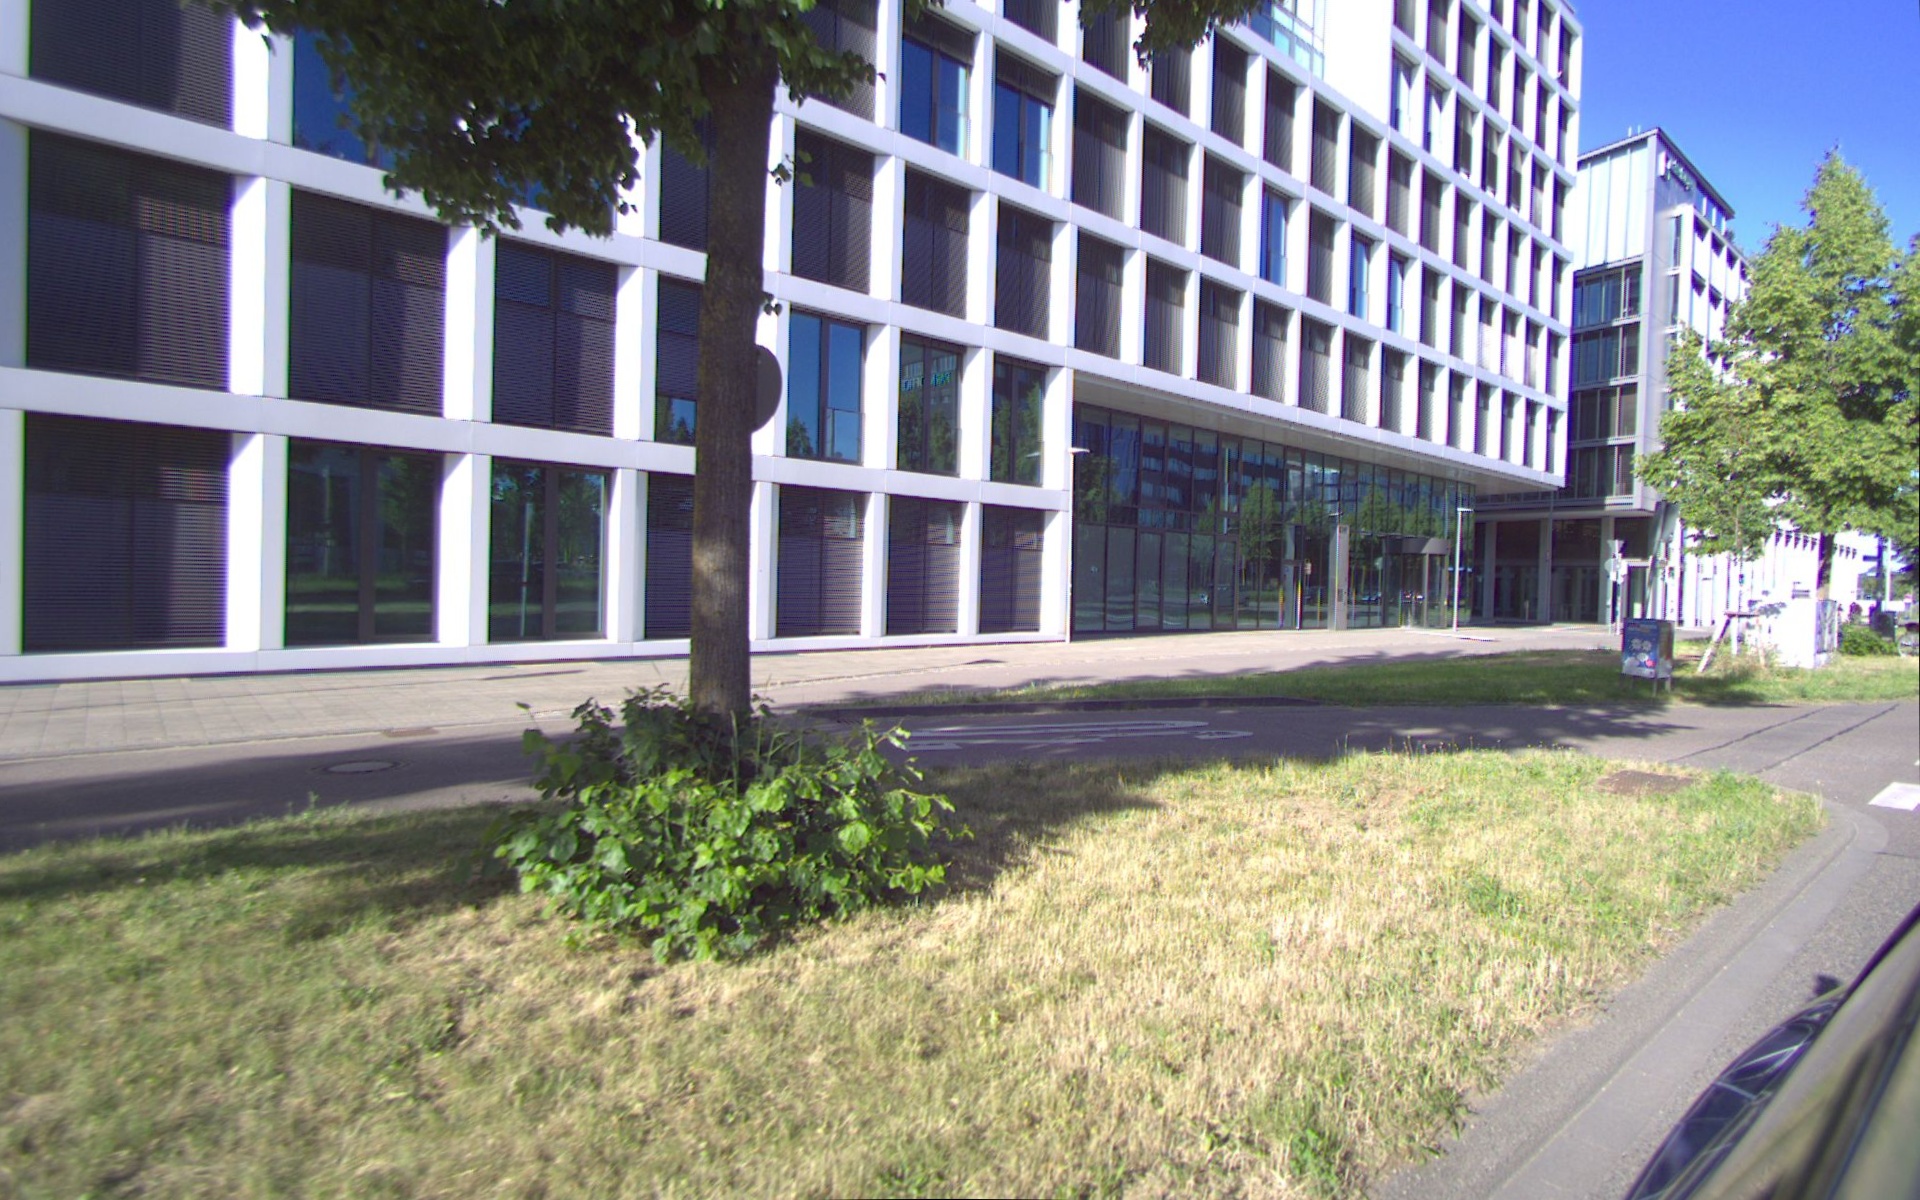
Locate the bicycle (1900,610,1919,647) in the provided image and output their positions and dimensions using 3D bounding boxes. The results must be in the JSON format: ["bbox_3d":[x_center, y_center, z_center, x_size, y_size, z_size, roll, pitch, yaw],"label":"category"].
[{"bbox_3d":[25.000,0.747,25.434,0.635,0.916,1.929,0,2,-37],"label":"bicycle"}]
